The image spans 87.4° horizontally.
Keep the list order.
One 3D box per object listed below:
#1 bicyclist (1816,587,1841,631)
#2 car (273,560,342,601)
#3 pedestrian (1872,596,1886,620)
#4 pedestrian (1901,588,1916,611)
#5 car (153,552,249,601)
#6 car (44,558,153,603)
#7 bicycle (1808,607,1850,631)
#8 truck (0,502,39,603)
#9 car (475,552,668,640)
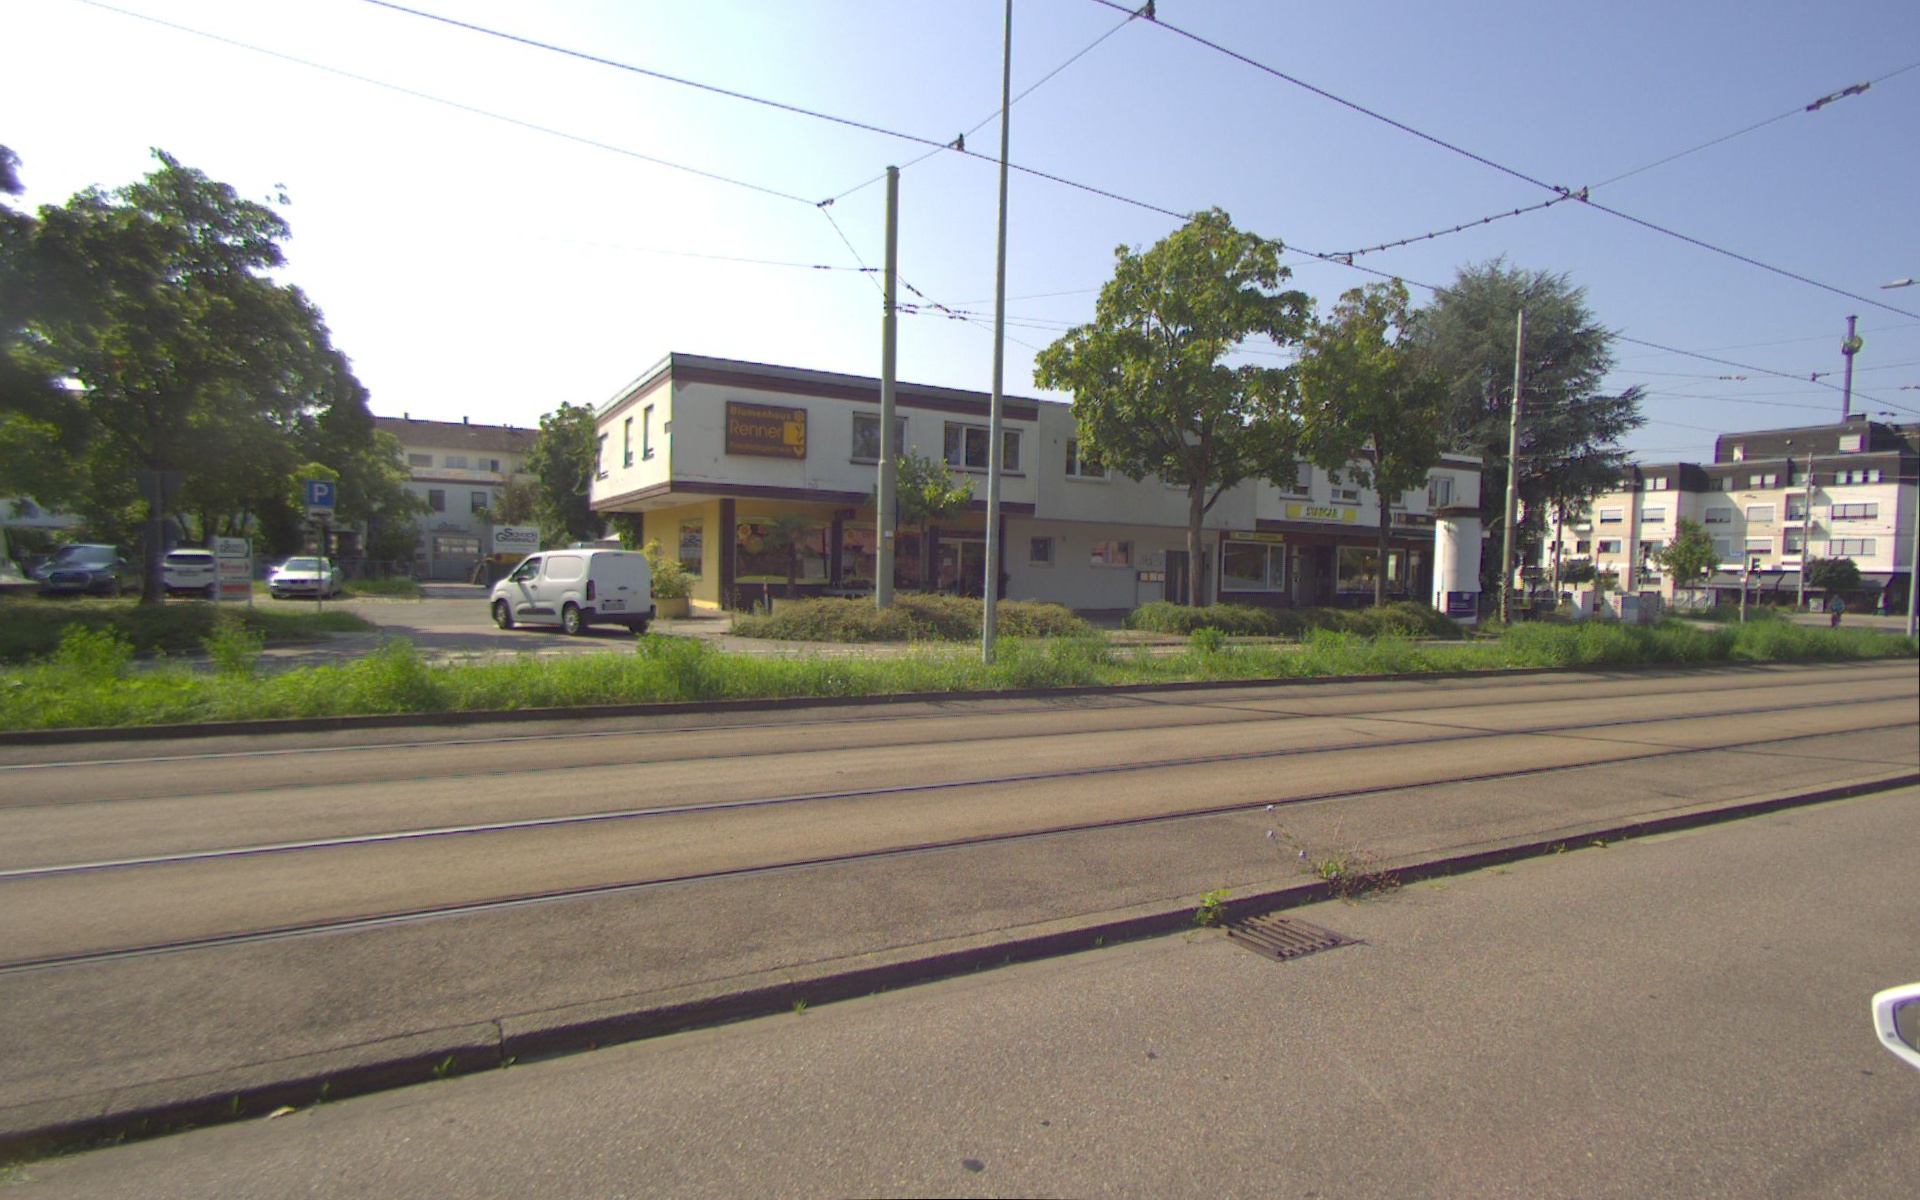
[{"bbox_3d":[41.950,0.424,48.527,0.764,2.092,0.635,0,1,-25],"label":"bicyclist"},{"bbox_3d":[-22.727,-0.697,35.092,1.470,1.361,3.521,0,2,-24],"label":"car"},{"bbox_3d":[68.439,0.582,74.815,0.589,1.768,0.565,1,1,28],"label":"pedestrian"},{"bbox_3d":[73.481,-0.058,77.802,0.689,1.764,0.677,0,1,-28],"label":"pedestrian"},{"bbox_3d":[-25.241,-0.752,33.532,1.851,1.522,3.436,0,1,-25],"label":"car"},{"bbox_3d":[-27.496,-0.646,32.191,1.469,1.361,3.699,0,2,-21],"label":"car"},{"bbox_3d":[42.007,0.913,48.559,2.235,1.106,0.713,0,0,-26],"label":"bicycle"},{"bbox_3d":[-22.028,-1.052,21.502,2.233,2.202,5.464,0,0,-30],"label":"truck"},{"bbox_3d":[-8.759,-0.161,22.513,4.347,1.782,1.983,2,2,35],"label":"car"}]
